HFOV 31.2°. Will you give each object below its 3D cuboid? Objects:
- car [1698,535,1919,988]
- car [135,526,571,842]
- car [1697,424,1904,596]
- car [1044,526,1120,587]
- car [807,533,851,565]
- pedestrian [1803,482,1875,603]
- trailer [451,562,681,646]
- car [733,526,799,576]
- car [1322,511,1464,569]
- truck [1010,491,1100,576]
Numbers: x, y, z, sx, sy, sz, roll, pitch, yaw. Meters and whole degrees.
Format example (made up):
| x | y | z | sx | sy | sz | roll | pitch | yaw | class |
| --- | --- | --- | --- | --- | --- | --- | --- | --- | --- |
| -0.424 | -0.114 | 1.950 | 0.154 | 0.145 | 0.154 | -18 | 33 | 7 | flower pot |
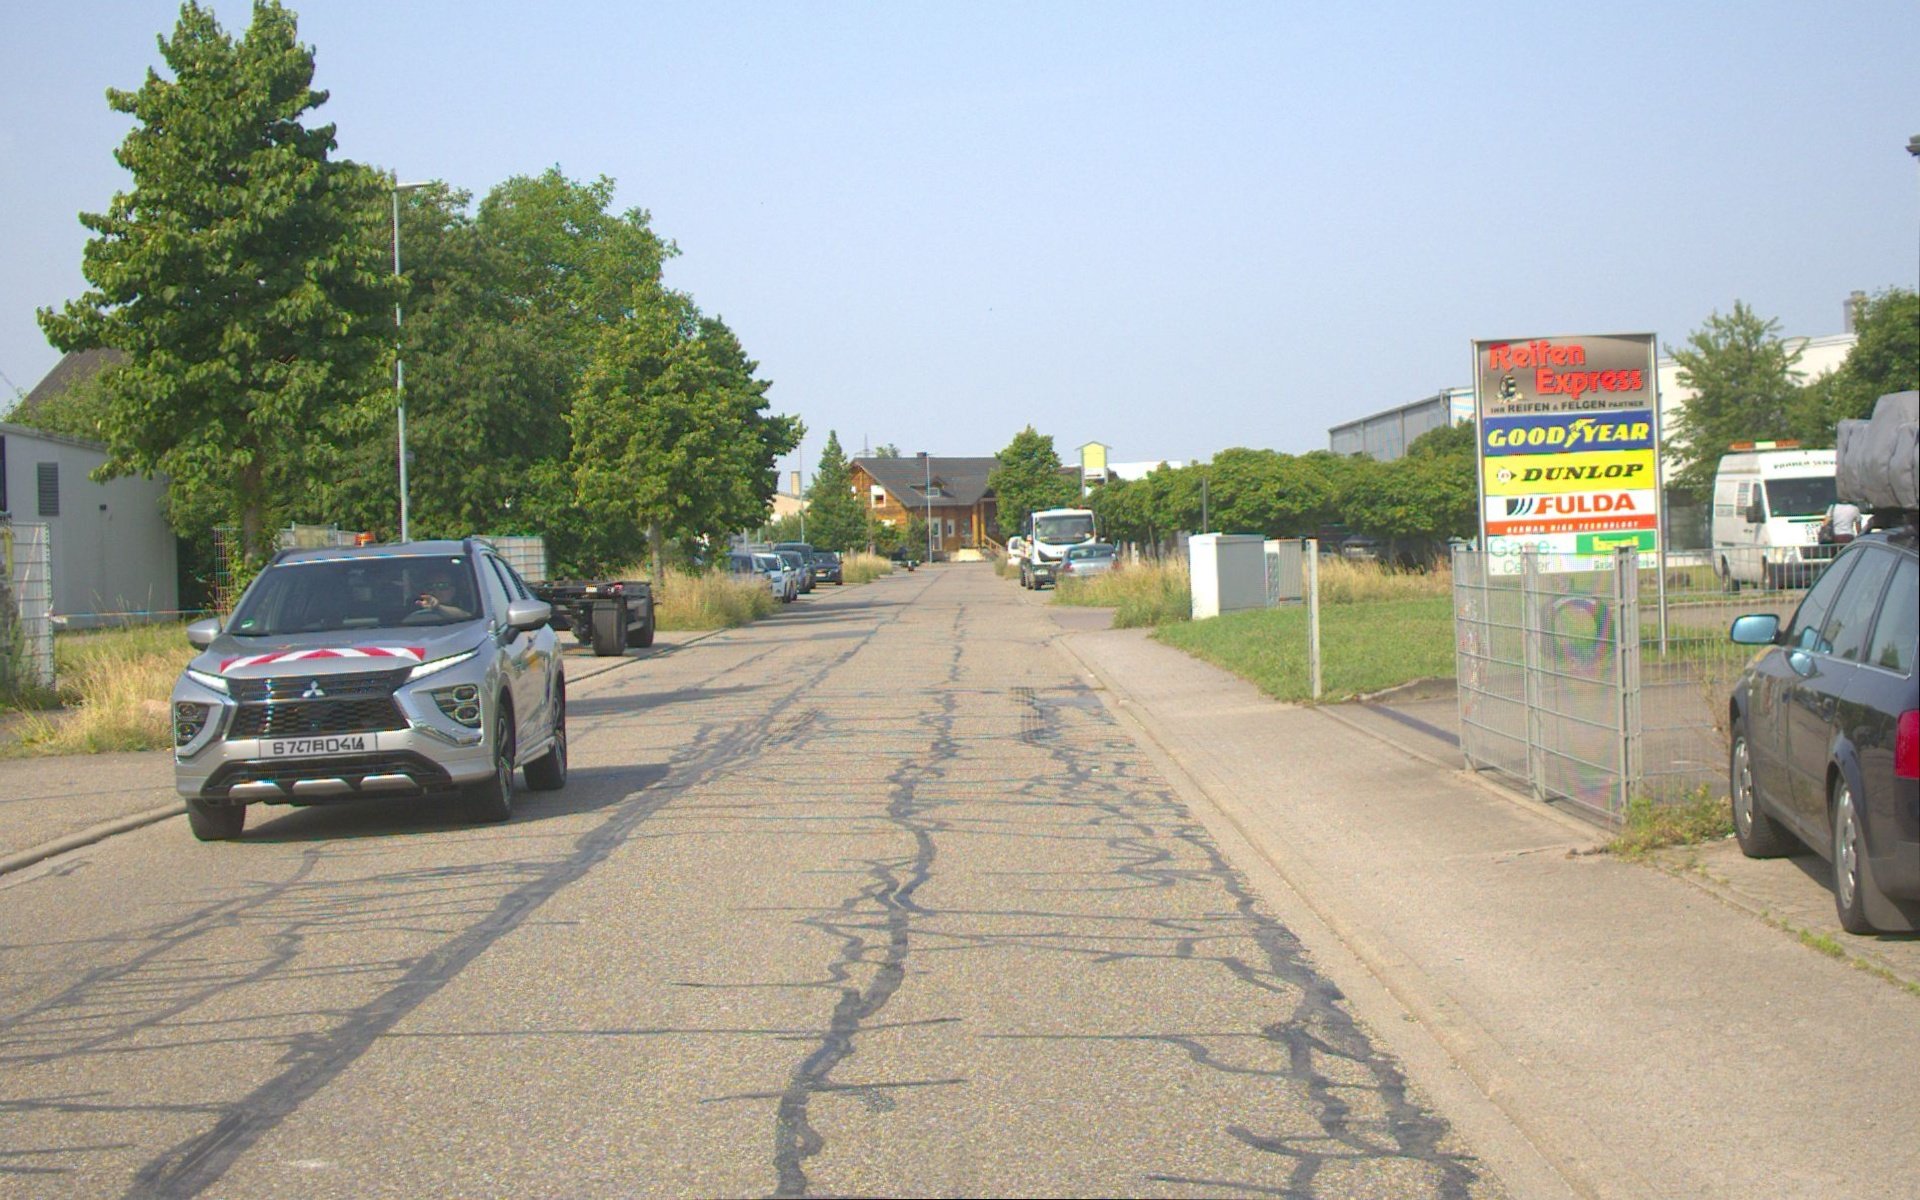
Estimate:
| x | y | z | sx | sy | sz | roll | pitch | yaw | class |
| --- | --- | --- | --- | --- | --- | --- | --- | --- | --- |
| 3.858 | 0.446 | 12.651 | 1.674 | 1.364 | 4.393 | -1 | 1 | 5 | car |
| -3.475 | 0.415 | 20.447 | 1.811 | 1.621 | 4.249 | -2 | 1 | 0 | car |
| 14.071 | -1.483 | 57.899 | 1.974 | 2.696 | 5.881 | -1 | 1 | 0 | car |
| 3.194 | -1.166 | 90.683 | 1.794 | 1.512 | 4.424 | -2 | 1 | 0 | car |
| -5.709 | -2.227 | 150.199 | 1.800 | 1.382 | 3.638 | 0 | 1 | 0 | car |
| 12.097 | -0.797 | 47.297 | 0.704 | 1.634 | 0.747 | -1 | 1 | 35 | pedestrian |
| -6.096 | 0.008 | 54.583 | 2.582 | 1.180 | 9.363 | 0 | 1 | 0 | trailer |
| -5.715 | -1.444 | 101.424 | 1.683 | 1.464 | 4.254 | 0 | 1 | 0 | car |
| 12.964 | -1.804 | 102.755 | 4.522 | 1.583 | 1.686 | -3 | 1 | -44 | car |
| 3.115 | -2.225 | 114.595 | 2.359 | 2.672 | 6.512 | -2 | 1 | -3 | truck |
